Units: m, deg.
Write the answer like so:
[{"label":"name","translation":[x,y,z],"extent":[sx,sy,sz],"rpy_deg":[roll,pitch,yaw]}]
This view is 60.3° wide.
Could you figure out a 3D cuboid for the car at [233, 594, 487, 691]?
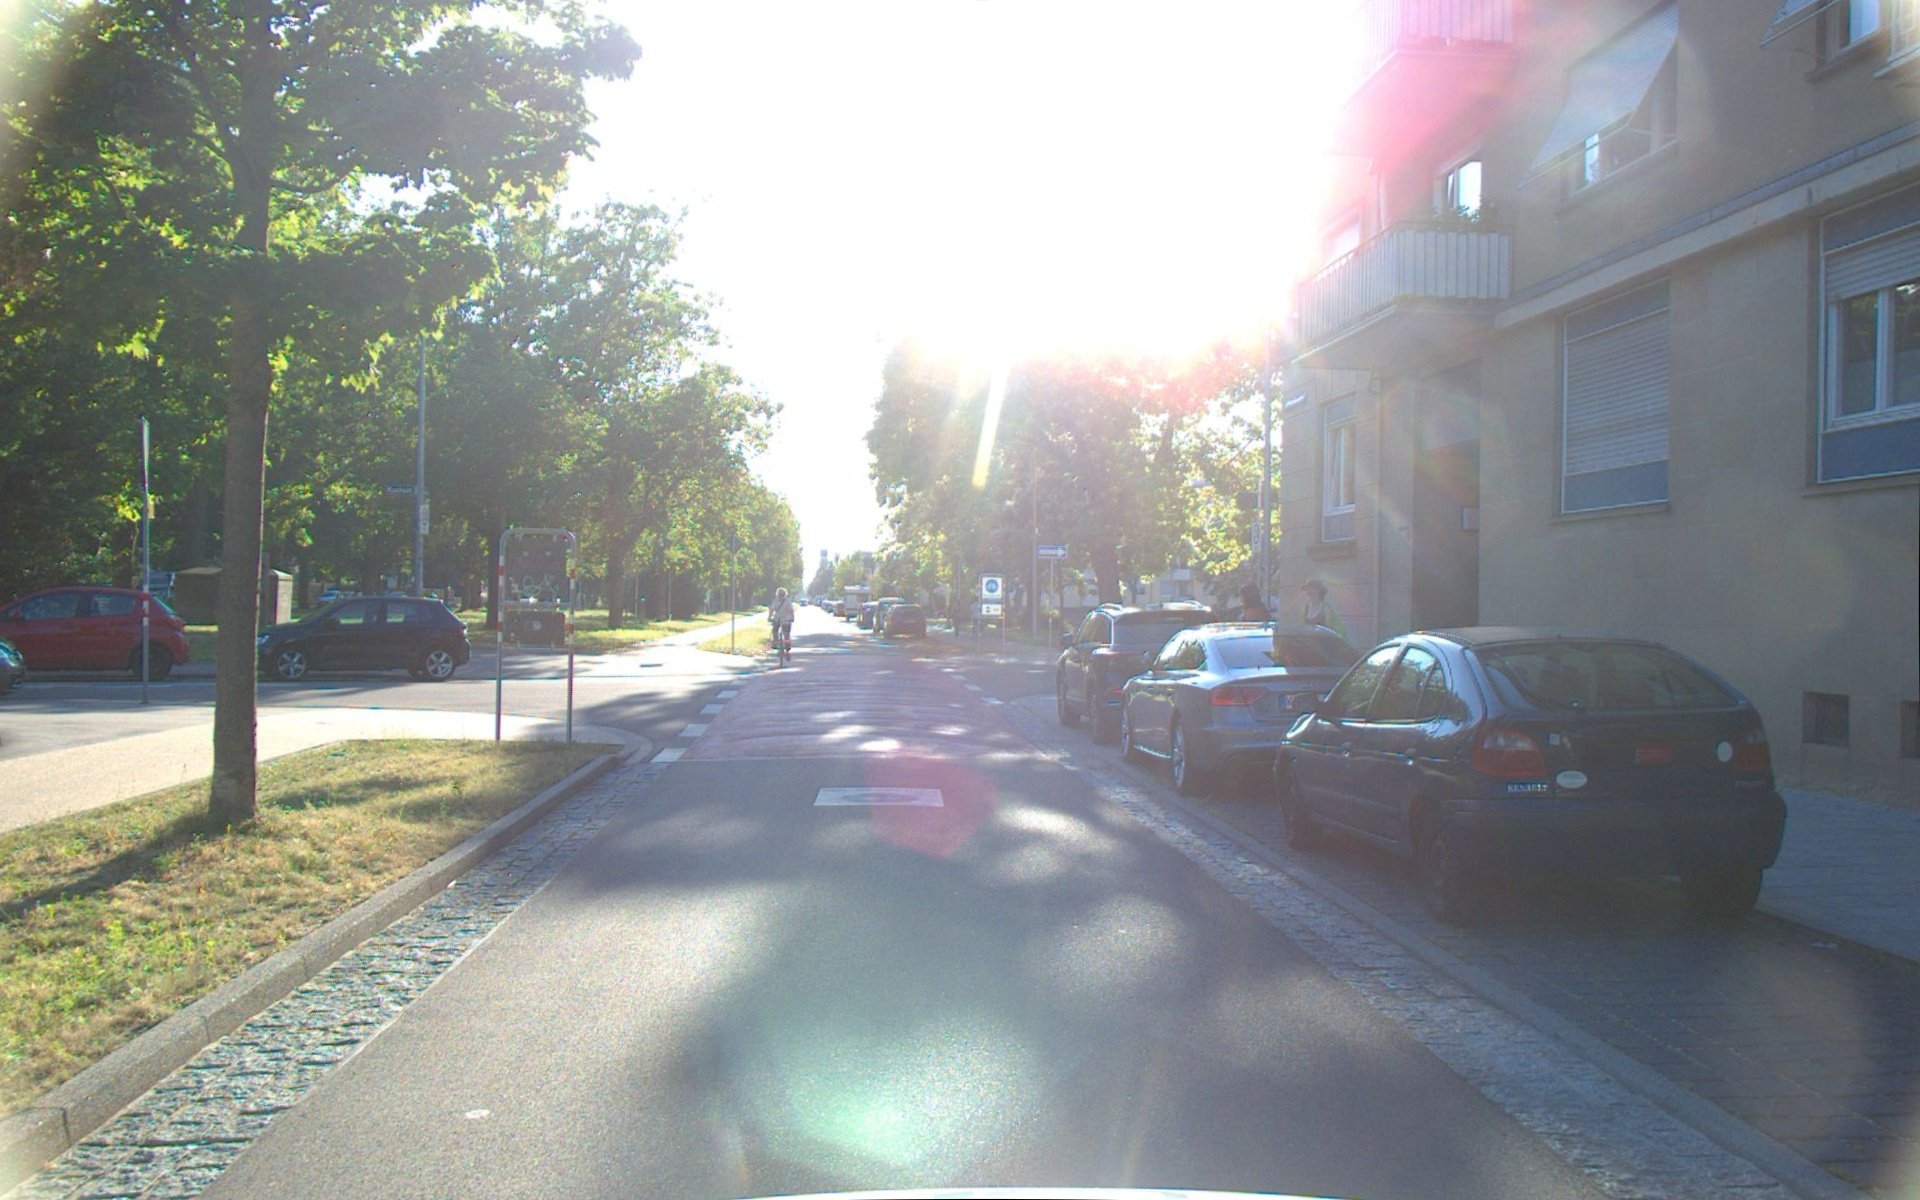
[{"label":"car","translation":[-10.559,0.771,29.169],"extent":[3.945,1.602,1.871],"rpy_deg":[2,-2,-31]}]

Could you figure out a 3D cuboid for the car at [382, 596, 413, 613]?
[{"label":"car","translation":[-55.111,0.451,162.093],"extent":[1.954,1.534,4.111],"rpy_deg":[0,-1,-5]}]

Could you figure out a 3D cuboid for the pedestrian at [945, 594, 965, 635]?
[{"label":"pedestrian","translation":[-0.220,0.627,71.719],"extent":[0.738,1.766,0.731],"rpy_deg":[2,0,-5]}]

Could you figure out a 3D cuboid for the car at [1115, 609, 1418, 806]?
[{"label":"car","translation":[2.535,0.832,14.729],"extent":[1.669,1.445,4.346],"rpy_deg":[-1,0,-3]}]

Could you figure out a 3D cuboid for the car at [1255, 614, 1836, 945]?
[{"label":"car","translation":[3.033,0.830,9.541],"extent":[1.669,1.445,4.032],"rpy_deg":[-1,0,-4]}]

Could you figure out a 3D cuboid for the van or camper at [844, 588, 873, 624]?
[{"label":"van or camper","translation":[-8.609,0.527,140.055],"extent":[2.191,2.955,5.665],"rpy_deg":[0,-1,-6]}]

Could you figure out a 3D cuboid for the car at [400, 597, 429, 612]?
[{"label":"car","translation":[-56.365,0.496,171.021],"extent":[1.954,1.534,4.111],"rpy_deg":[0,-1,-5]}]

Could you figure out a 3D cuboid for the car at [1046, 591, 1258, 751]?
[{"label":"car","translation":[2.203,0.753,20.118],"extent":[1.670,1.654,4.344],"rpy_deg":[-1,1,-5]}]

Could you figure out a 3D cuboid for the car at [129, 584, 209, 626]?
[{"label":"car","translation":[-49.939,0.332,104.592],"extent":[2.669,2.506,6.309],"rpy_deg":[0,-1,-7]}]

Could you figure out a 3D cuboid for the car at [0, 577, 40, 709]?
[{"label":"car","translation":[-13.834,0.533,20.936],"extent":[3.793,1.660,1.822],"rpy_deg":[1,-1,-30]}]

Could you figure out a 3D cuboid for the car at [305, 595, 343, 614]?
[{"label":"car","translation":[-54.197,0.384,140.944],"extent":[1.954,1.534,3.996],"rpy_deg":[0,-1,-5]}]

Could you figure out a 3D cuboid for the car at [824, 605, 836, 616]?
[{"label":"car","translation":[-18.460,1.488,234.442],"extent":[1.595,1.434,4.244],"rpy_deg":[0,-1,-6]}]

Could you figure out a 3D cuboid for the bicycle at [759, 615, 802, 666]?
[{"label":"bicycle","translation":[-4.245,0.945,39.219],"extent":[0.723,1.155,2.105],"rpy_deg":[1,0,1]}]

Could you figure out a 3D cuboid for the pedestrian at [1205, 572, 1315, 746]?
[{"label":"pedestrian","translation":[3.194,0.618,17.666],"extent":[0.934,1.800,0.777],"rpy_deg":[2,0,-7]}]

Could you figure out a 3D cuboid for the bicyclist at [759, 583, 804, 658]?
[{"label":"bicyclist","translation":[-4.230,0.489,39.309],"extent":[0.918,1.732,0.906],"rpy_deg":[1,0,1]}]

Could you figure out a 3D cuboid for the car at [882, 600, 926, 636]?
[{"label":"car","translation":[-2.521,0.797,73.525],"extent":[1.646,1.512,4.803],"rpy_deg":[0,-1,-6]}]

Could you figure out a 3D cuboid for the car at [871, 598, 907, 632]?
[{"label":"car","translation":[-3.778,0.790,87.492],"extent":[1.646,1.770,4.508],"rpy_deg":[0,-1,-6]}]

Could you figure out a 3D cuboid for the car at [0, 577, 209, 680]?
[{"label":"car","translation":[-14.585,0.497,27.148],"extent":[3.945,1.602,1.871],"rpy_deg":[2,-2,-31]}]

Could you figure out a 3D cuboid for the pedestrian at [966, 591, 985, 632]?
[{"label":"pedestrian","translation":[0.688,0.503,71.802],"extent":[0.711,1.766,0.731],"rpy_deg":[2,0,-5]}]

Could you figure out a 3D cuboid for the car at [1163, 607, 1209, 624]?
[{"label":"car","translation":[20.851,1.409,152.495],"extent":[3.905,1.579,1.610],"rpy_deg":[0,-1,22]}]

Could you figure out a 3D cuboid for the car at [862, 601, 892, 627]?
[{"label":"car","translation":[-5.174,0.878,102.831],"extent":[1.698,1.578,4.271],"rpy_deg":[0,-1,-5]}]

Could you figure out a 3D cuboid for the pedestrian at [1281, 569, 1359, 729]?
[{"label":"pedestrian","translation":[4.288,0.572,19.717],"extent":[0.725,1.862,0.548],"rpy_deg":[2,0,-42]}]
